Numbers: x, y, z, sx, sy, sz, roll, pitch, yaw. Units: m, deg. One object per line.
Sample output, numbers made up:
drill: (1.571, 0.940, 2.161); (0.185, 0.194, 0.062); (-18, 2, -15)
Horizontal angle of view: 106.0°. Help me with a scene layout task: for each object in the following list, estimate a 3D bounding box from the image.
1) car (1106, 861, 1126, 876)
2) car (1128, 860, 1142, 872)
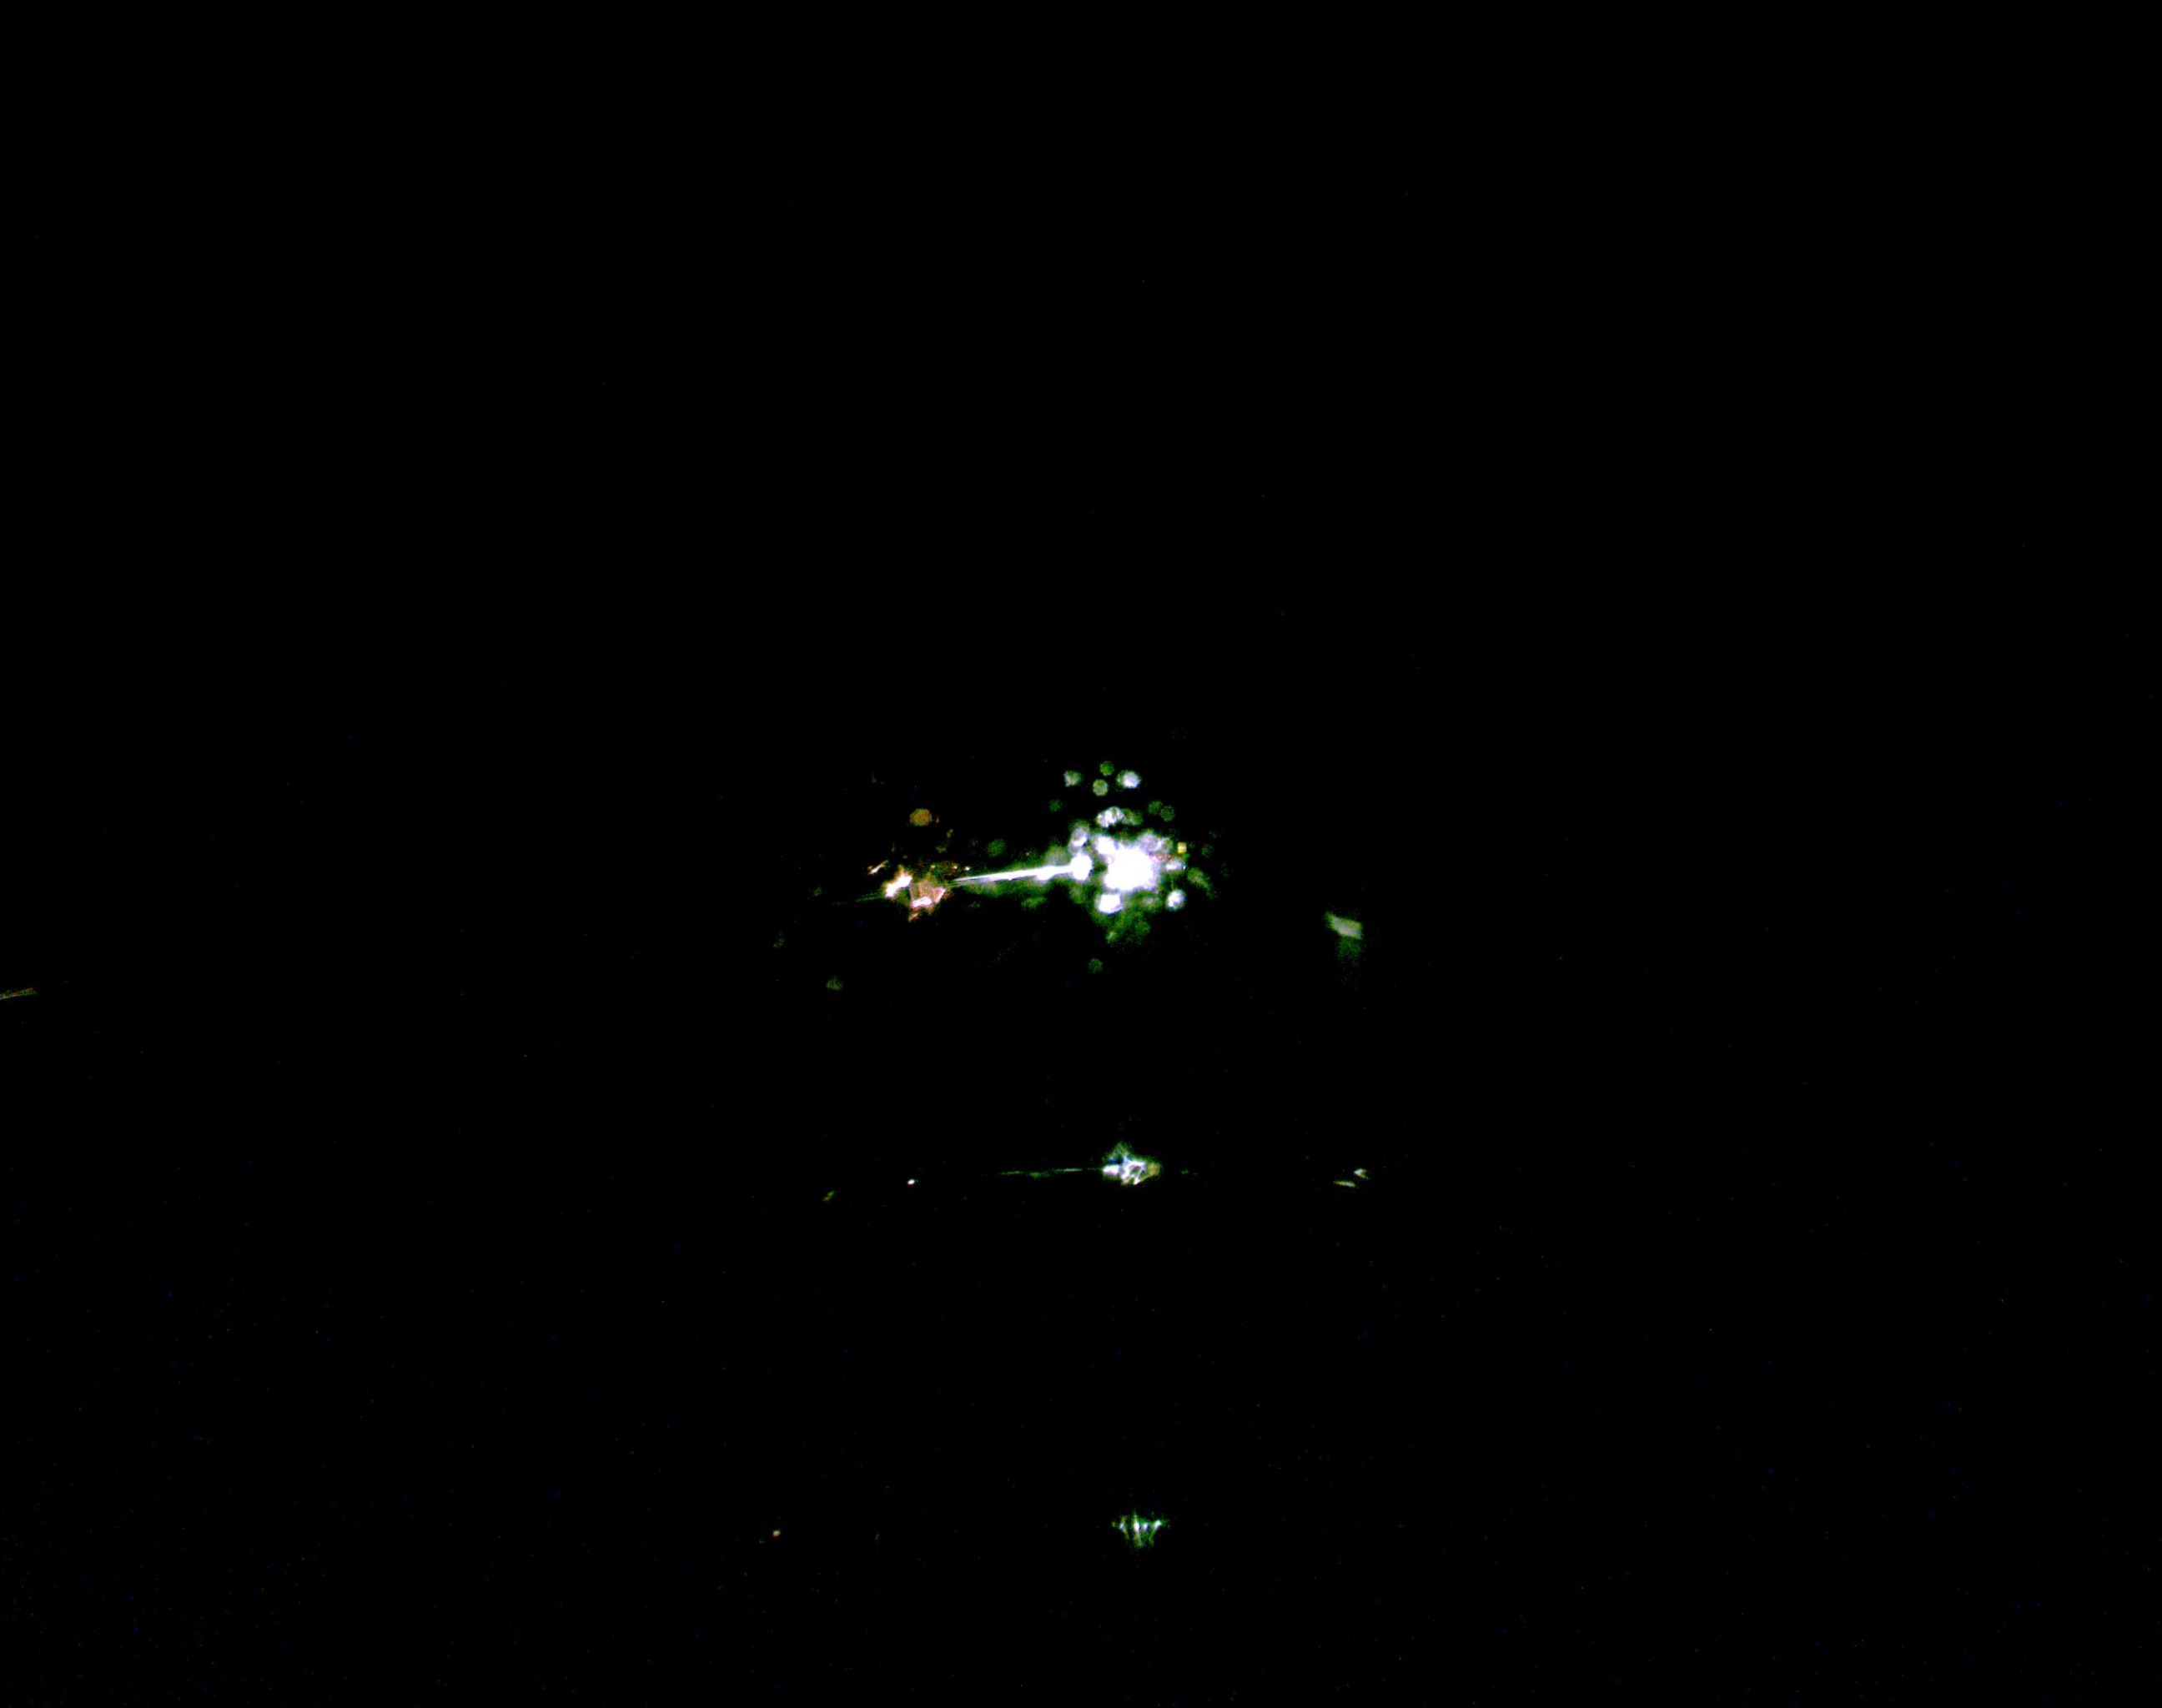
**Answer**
car: (3.485, 1.406, 80.047); (1.732, 1.402, 3.866); (-1, 0, 5)
car: (7.881, 1.762, 118.483); (1.771, 1.667, 4.480); (-1, 0, 7)
